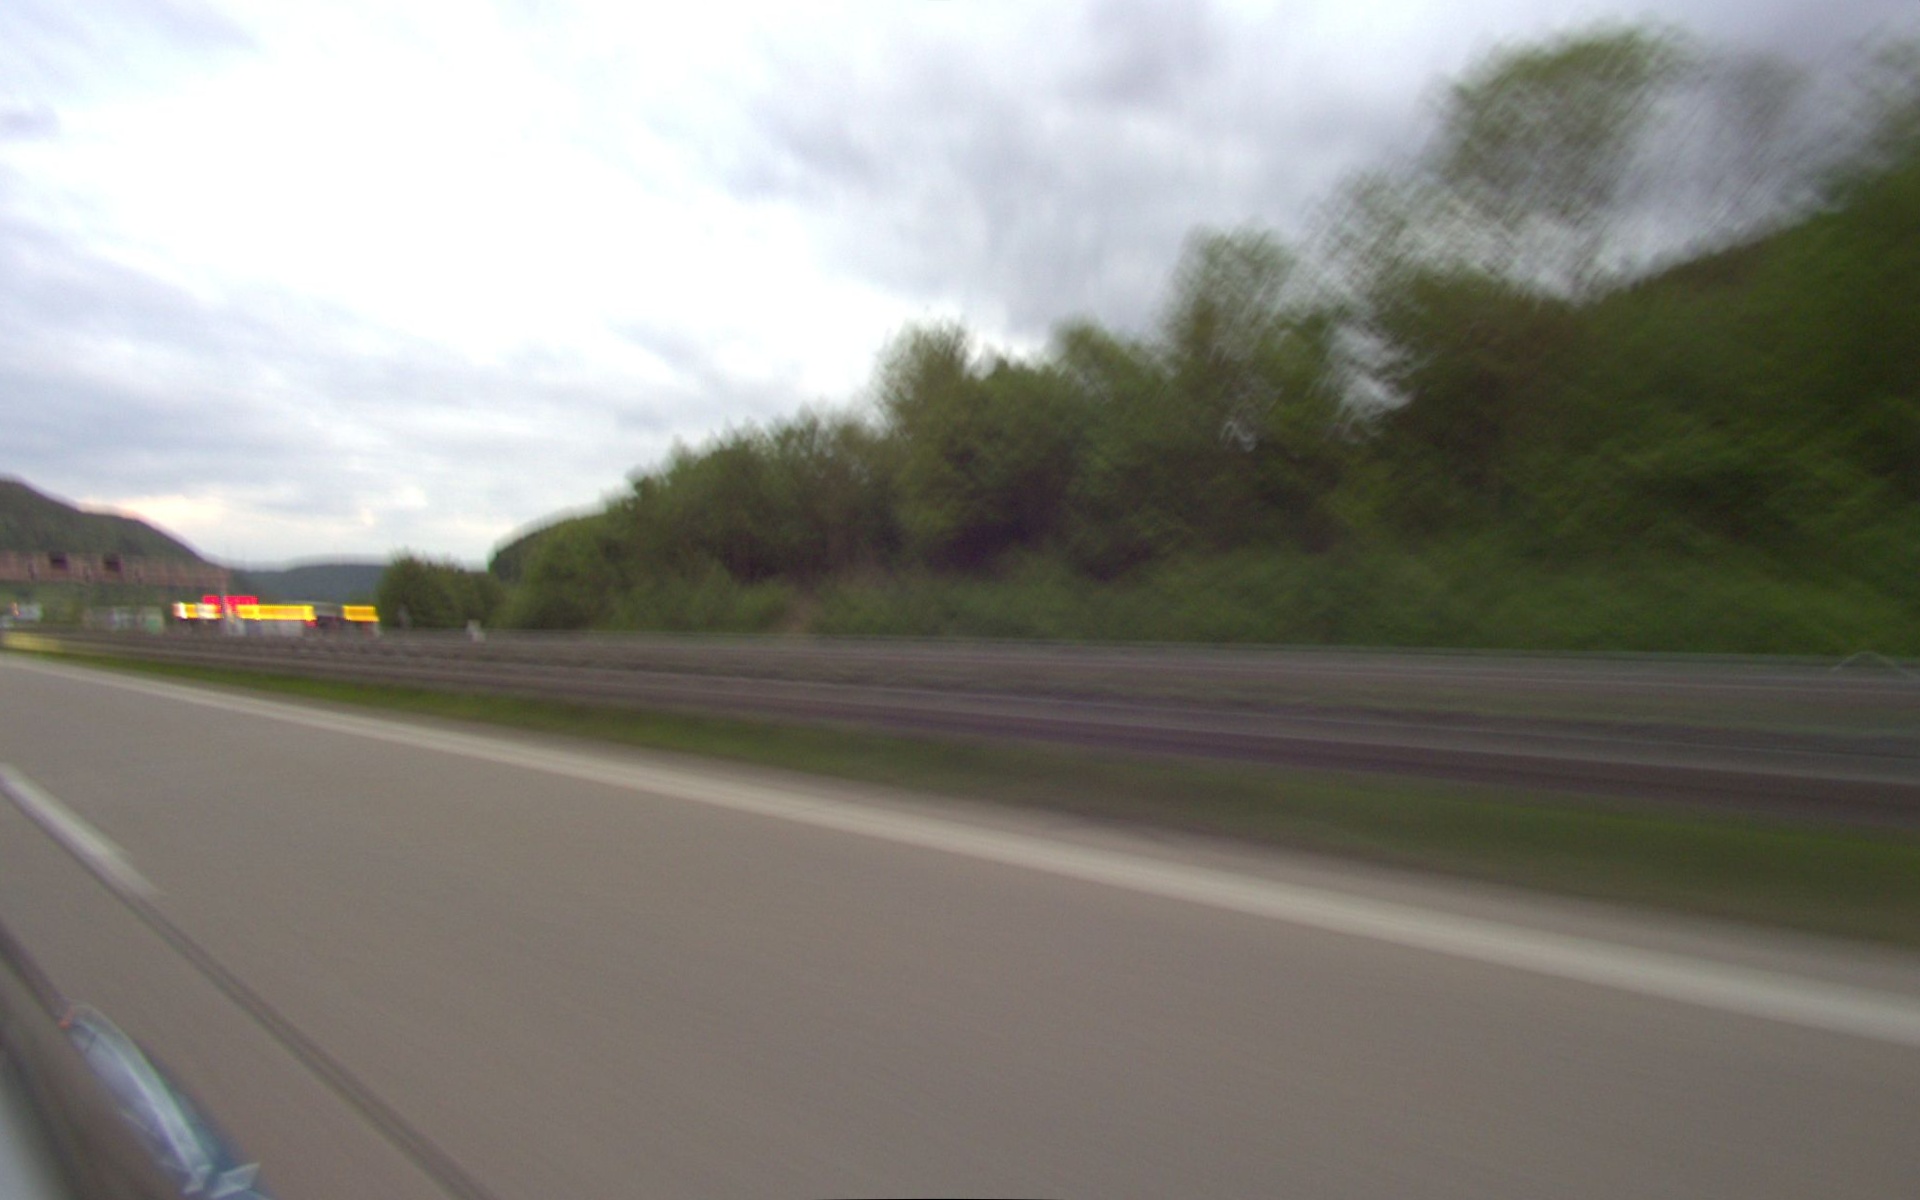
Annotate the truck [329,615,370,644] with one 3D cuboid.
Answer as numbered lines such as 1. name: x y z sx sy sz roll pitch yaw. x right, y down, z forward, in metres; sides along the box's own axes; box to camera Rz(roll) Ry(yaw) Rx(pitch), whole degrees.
1. truck: -79.834 3.806 132.493 2.962 3.707 7.702 0 -1 -18

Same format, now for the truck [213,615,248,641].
1. truck: -122.882 4.770 170.412 8.861 4.292 2.986 -1 -2 42

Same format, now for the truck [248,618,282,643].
1. truck: -107.421 4.672 156.421 7.027 3.668 2.842 -2 -2 42

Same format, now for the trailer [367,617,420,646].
1. trailer: -85.305 4.678 152.787 3.235 4.137 14.484 1 -2 -14

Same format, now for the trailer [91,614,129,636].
1. trailer: -138.532 4.032 164.819 13.846 3.451 2.843 -2 -1 42

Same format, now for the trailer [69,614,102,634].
1. trailer: -157.085 4.394 181.673 13.567 3.451 2.842 -2 -1 42

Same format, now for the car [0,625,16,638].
1. car: -127.049 4.197 134.613 4.642 1.598 1.712 -1 -1 40

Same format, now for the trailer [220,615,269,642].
1. trailer: -116.824 4.651 165.082 15.941 4.292 2.986 -1 -2 42

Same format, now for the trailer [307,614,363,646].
1. trailer: -77.636 3.636 125.971 3.018 3.707 13.384 0 -1 -19

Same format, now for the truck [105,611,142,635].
1. truck: -126.250 3.500 152.751 6.715 3.451 2.846 -1 -1 38

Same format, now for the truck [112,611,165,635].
1. truck: -120.602 3.367 148.430 13.766 3.451 2.847 -1 -1 37

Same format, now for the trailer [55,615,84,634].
1. trailer: -171.531 4.747 194.841 13.222 3.451 2.842 -2 -2 43

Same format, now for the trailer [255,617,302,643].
1. trailer: -102.337 4.528 151.806 12.712 3.707 2.843 -2 -1 42

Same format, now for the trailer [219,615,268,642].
1. trailer: -116.883 4.650 165.014 15.941 4.292 2.986 -1 -2 42
